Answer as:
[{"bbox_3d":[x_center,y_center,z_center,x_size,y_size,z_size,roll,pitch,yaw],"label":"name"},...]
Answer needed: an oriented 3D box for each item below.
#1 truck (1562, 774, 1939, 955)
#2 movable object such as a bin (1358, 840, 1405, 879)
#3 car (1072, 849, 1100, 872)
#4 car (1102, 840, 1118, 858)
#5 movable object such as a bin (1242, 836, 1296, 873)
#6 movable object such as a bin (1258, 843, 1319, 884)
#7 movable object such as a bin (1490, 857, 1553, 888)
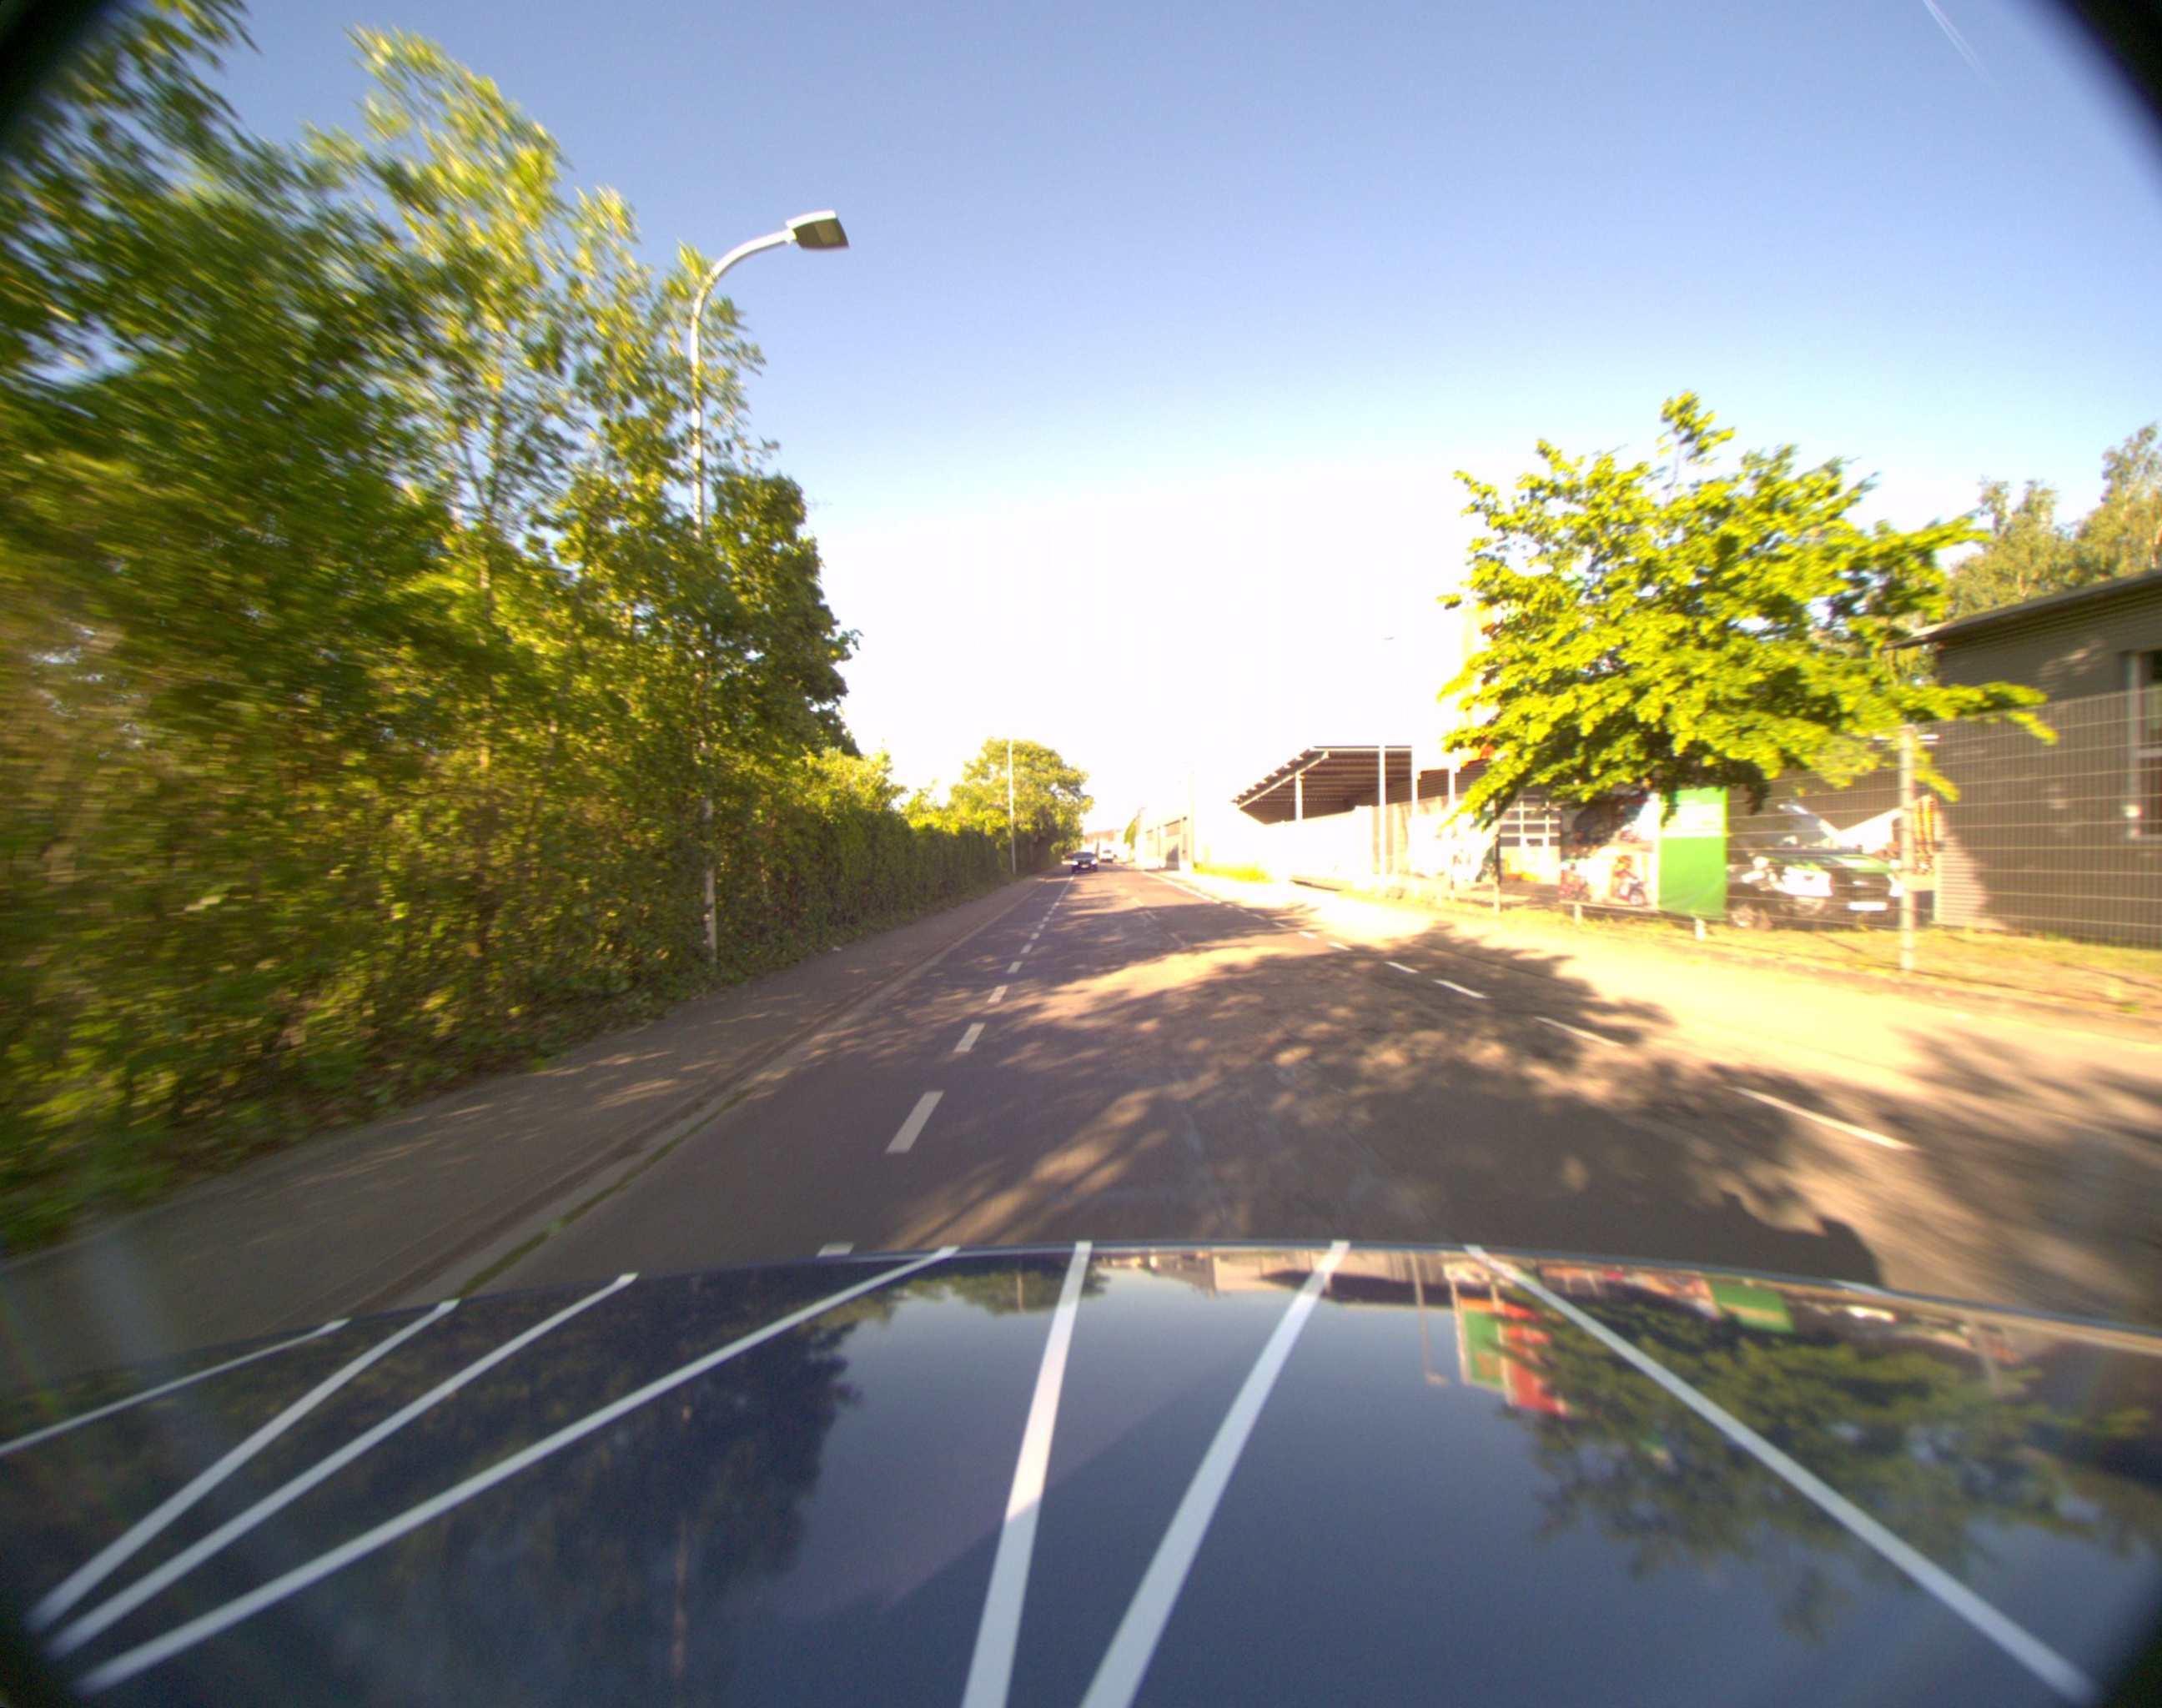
[{"bbox_3d":[11.966,0.170,14.399,2.084,2.745,5.765,0,0,0],"label":"truck"},{"bbox_3d":[16.638,0.295,42.141,1.580,2.080,2.478,0,0,-1],"label":"movable object such as a bin"},{"bbox_3d":[0.368,0.455,58.798,2.037,1.623,4.612,-1,1,0],"label":"car"},{"bbox_3d":[4.385,-0.773,117.302,2.128,2.764,5.925,2,1,0],"label":"car"},{"bbox_3d":[11.229,0.068,45.335,2.765,2.152,1.526,-1,0,30],"label":"movable object such as a bin"},{"bbox_3d":[11.142,0.496,40.732,2.882,2.136,1.502,0,0,27],"label":"movable object such as a bin"},{"bbox_3d":[19.328,0.786,33.463,1.170,1.324,2.636,0,0,-2],"label":"movable object such as a bin"}]
